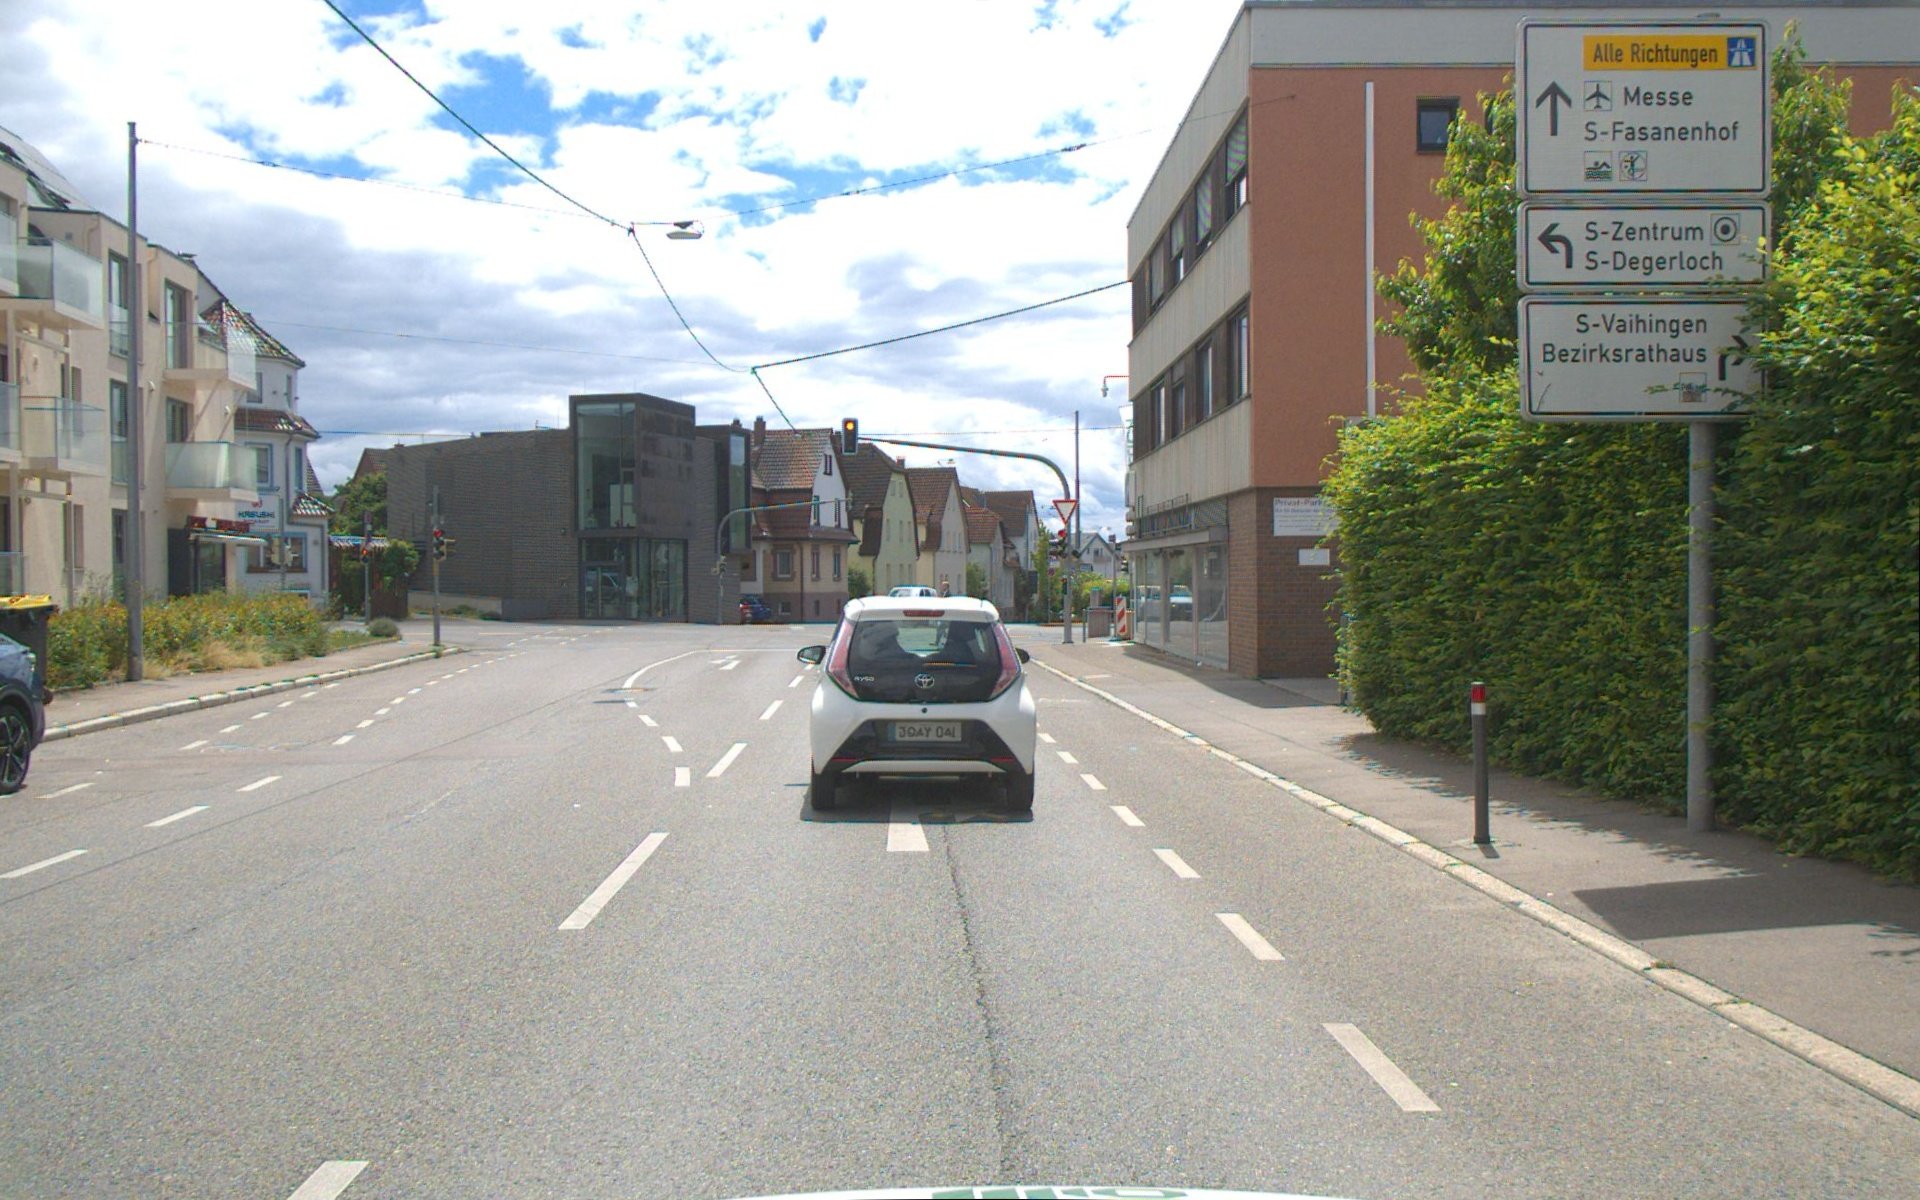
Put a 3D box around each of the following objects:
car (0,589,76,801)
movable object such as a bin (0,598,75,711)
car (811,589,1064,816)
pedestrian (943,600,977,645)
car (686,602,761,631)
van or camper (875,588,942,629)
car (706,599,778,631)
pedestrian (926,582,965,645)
[{"bbox_3d":[-8.249,0.731,11.535,1.954,1.615,4.486,0,0,-3],"label":"car"},{"bbox_3d":[-11.693,0.649,20.267,1.043,1.336,1.214,0,0,0],"label":"movable object such as a bin"},{"bbox_3d":[-0.246,0.692,12.730,1.663,1.482,3.296,2,0,-4],"label":"car"},{"bbox_3d":[-0.006,0.624,45.725,0.724,1.243,0.640,0,0,-27],"label":"pedestrian"},{"bbox_3d":[-12.492,0.868,87.342,3.537,1.444,1.693,2,0,10],"label":"car"},{"bbox_3d":[-2.598,0.450,84.674,2.070,1.959,5.289,2,0,13],"label":"van or camper"},{"bbox_3d":[-11.871,0.813,90.135,3.537,1.633,1.693,2,0,10],"label":"car"},{"bbox_3d":[-0.406,0.369,46.368,0.813,1.751,0.810,0,0,-29],"label":"pedestrian"}]
